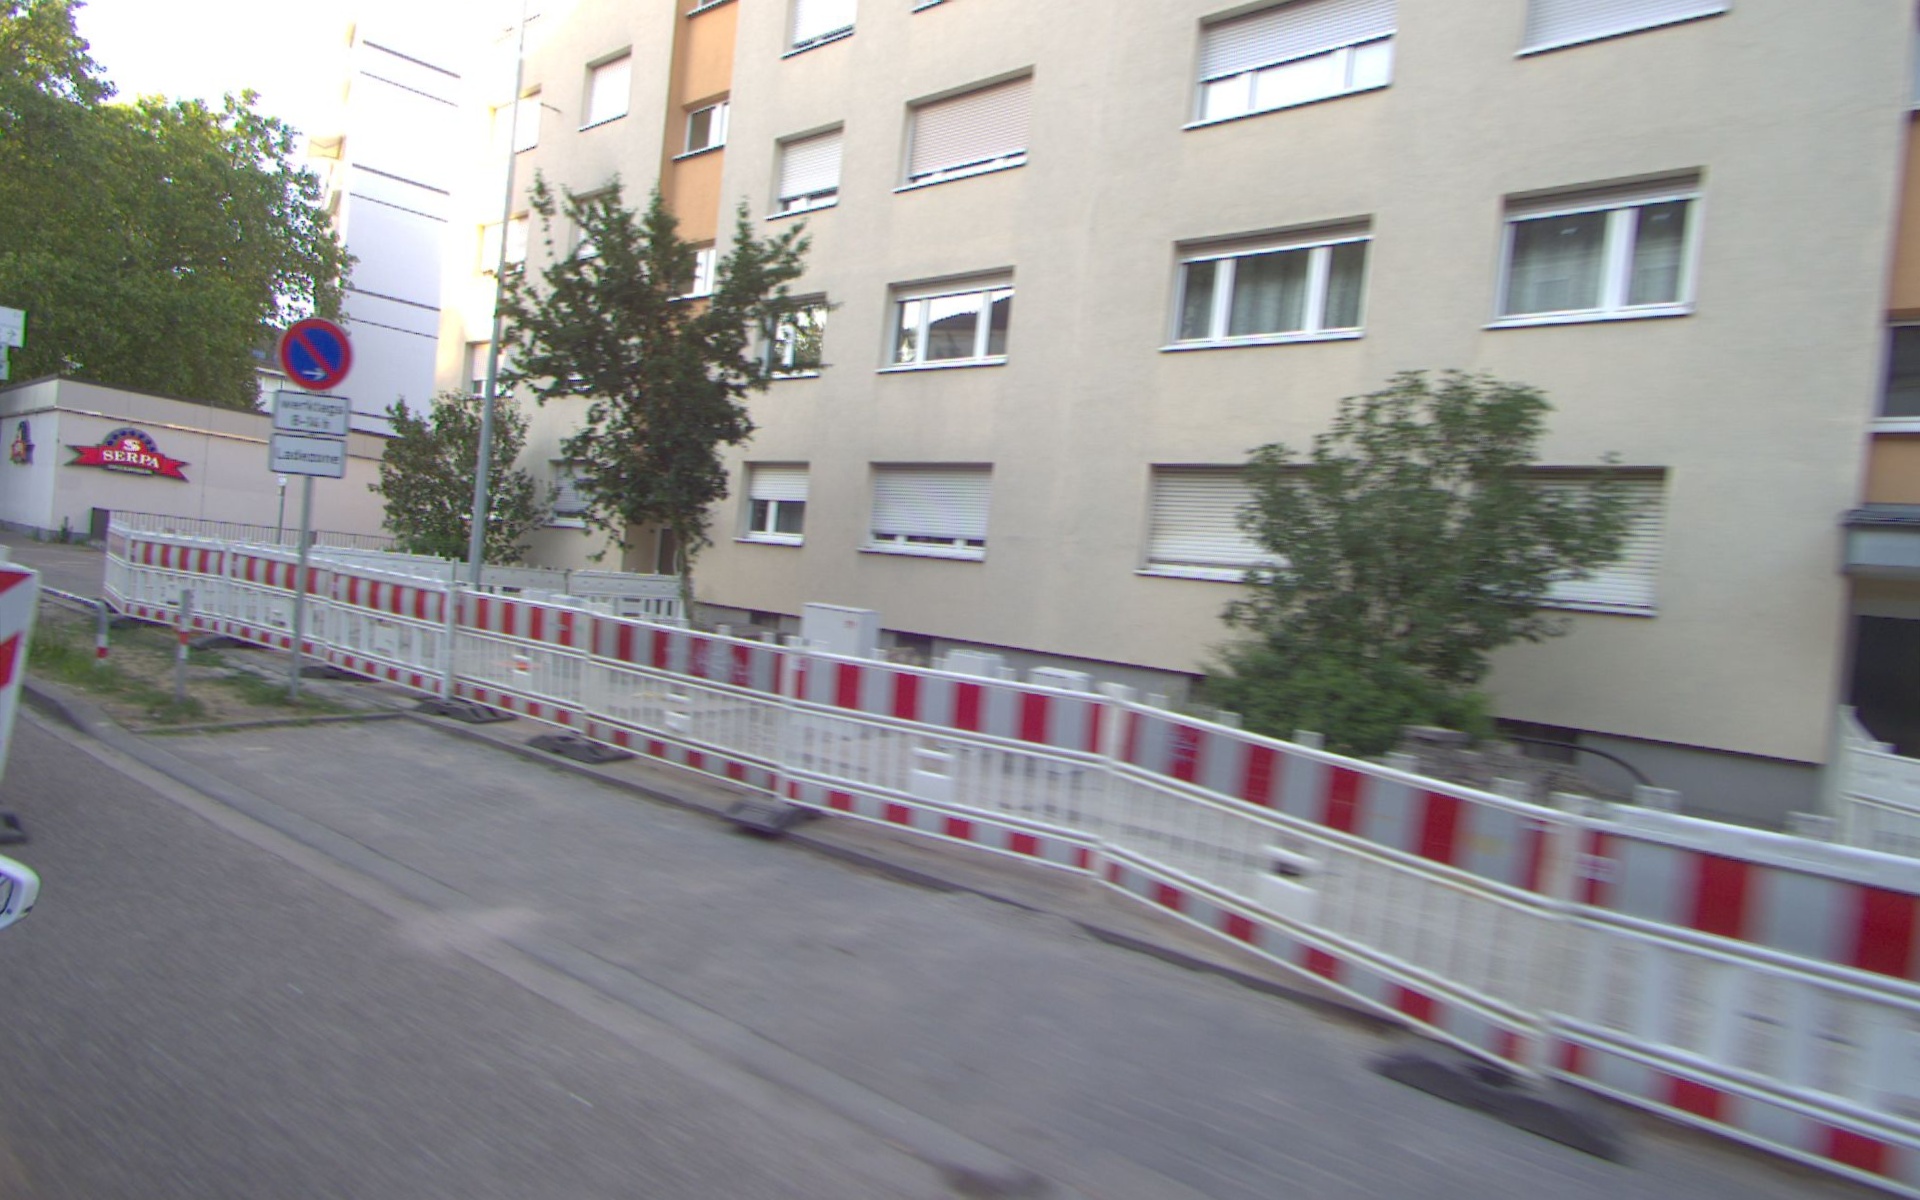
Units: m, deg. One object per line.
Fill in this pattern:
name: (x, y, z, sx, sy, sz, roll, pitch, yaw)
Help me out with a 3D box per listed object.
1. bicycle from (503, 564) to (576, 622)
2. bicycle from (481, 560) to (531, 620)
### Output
bicycle: (-8.378, -0.152, 20.021, 1.672, 0.980, 0.543, 7, 1, 38)
bicycle: (-8.670, -0.209, 19.183, 0.540, 0.980, 1.799, 6, 1, -33)
